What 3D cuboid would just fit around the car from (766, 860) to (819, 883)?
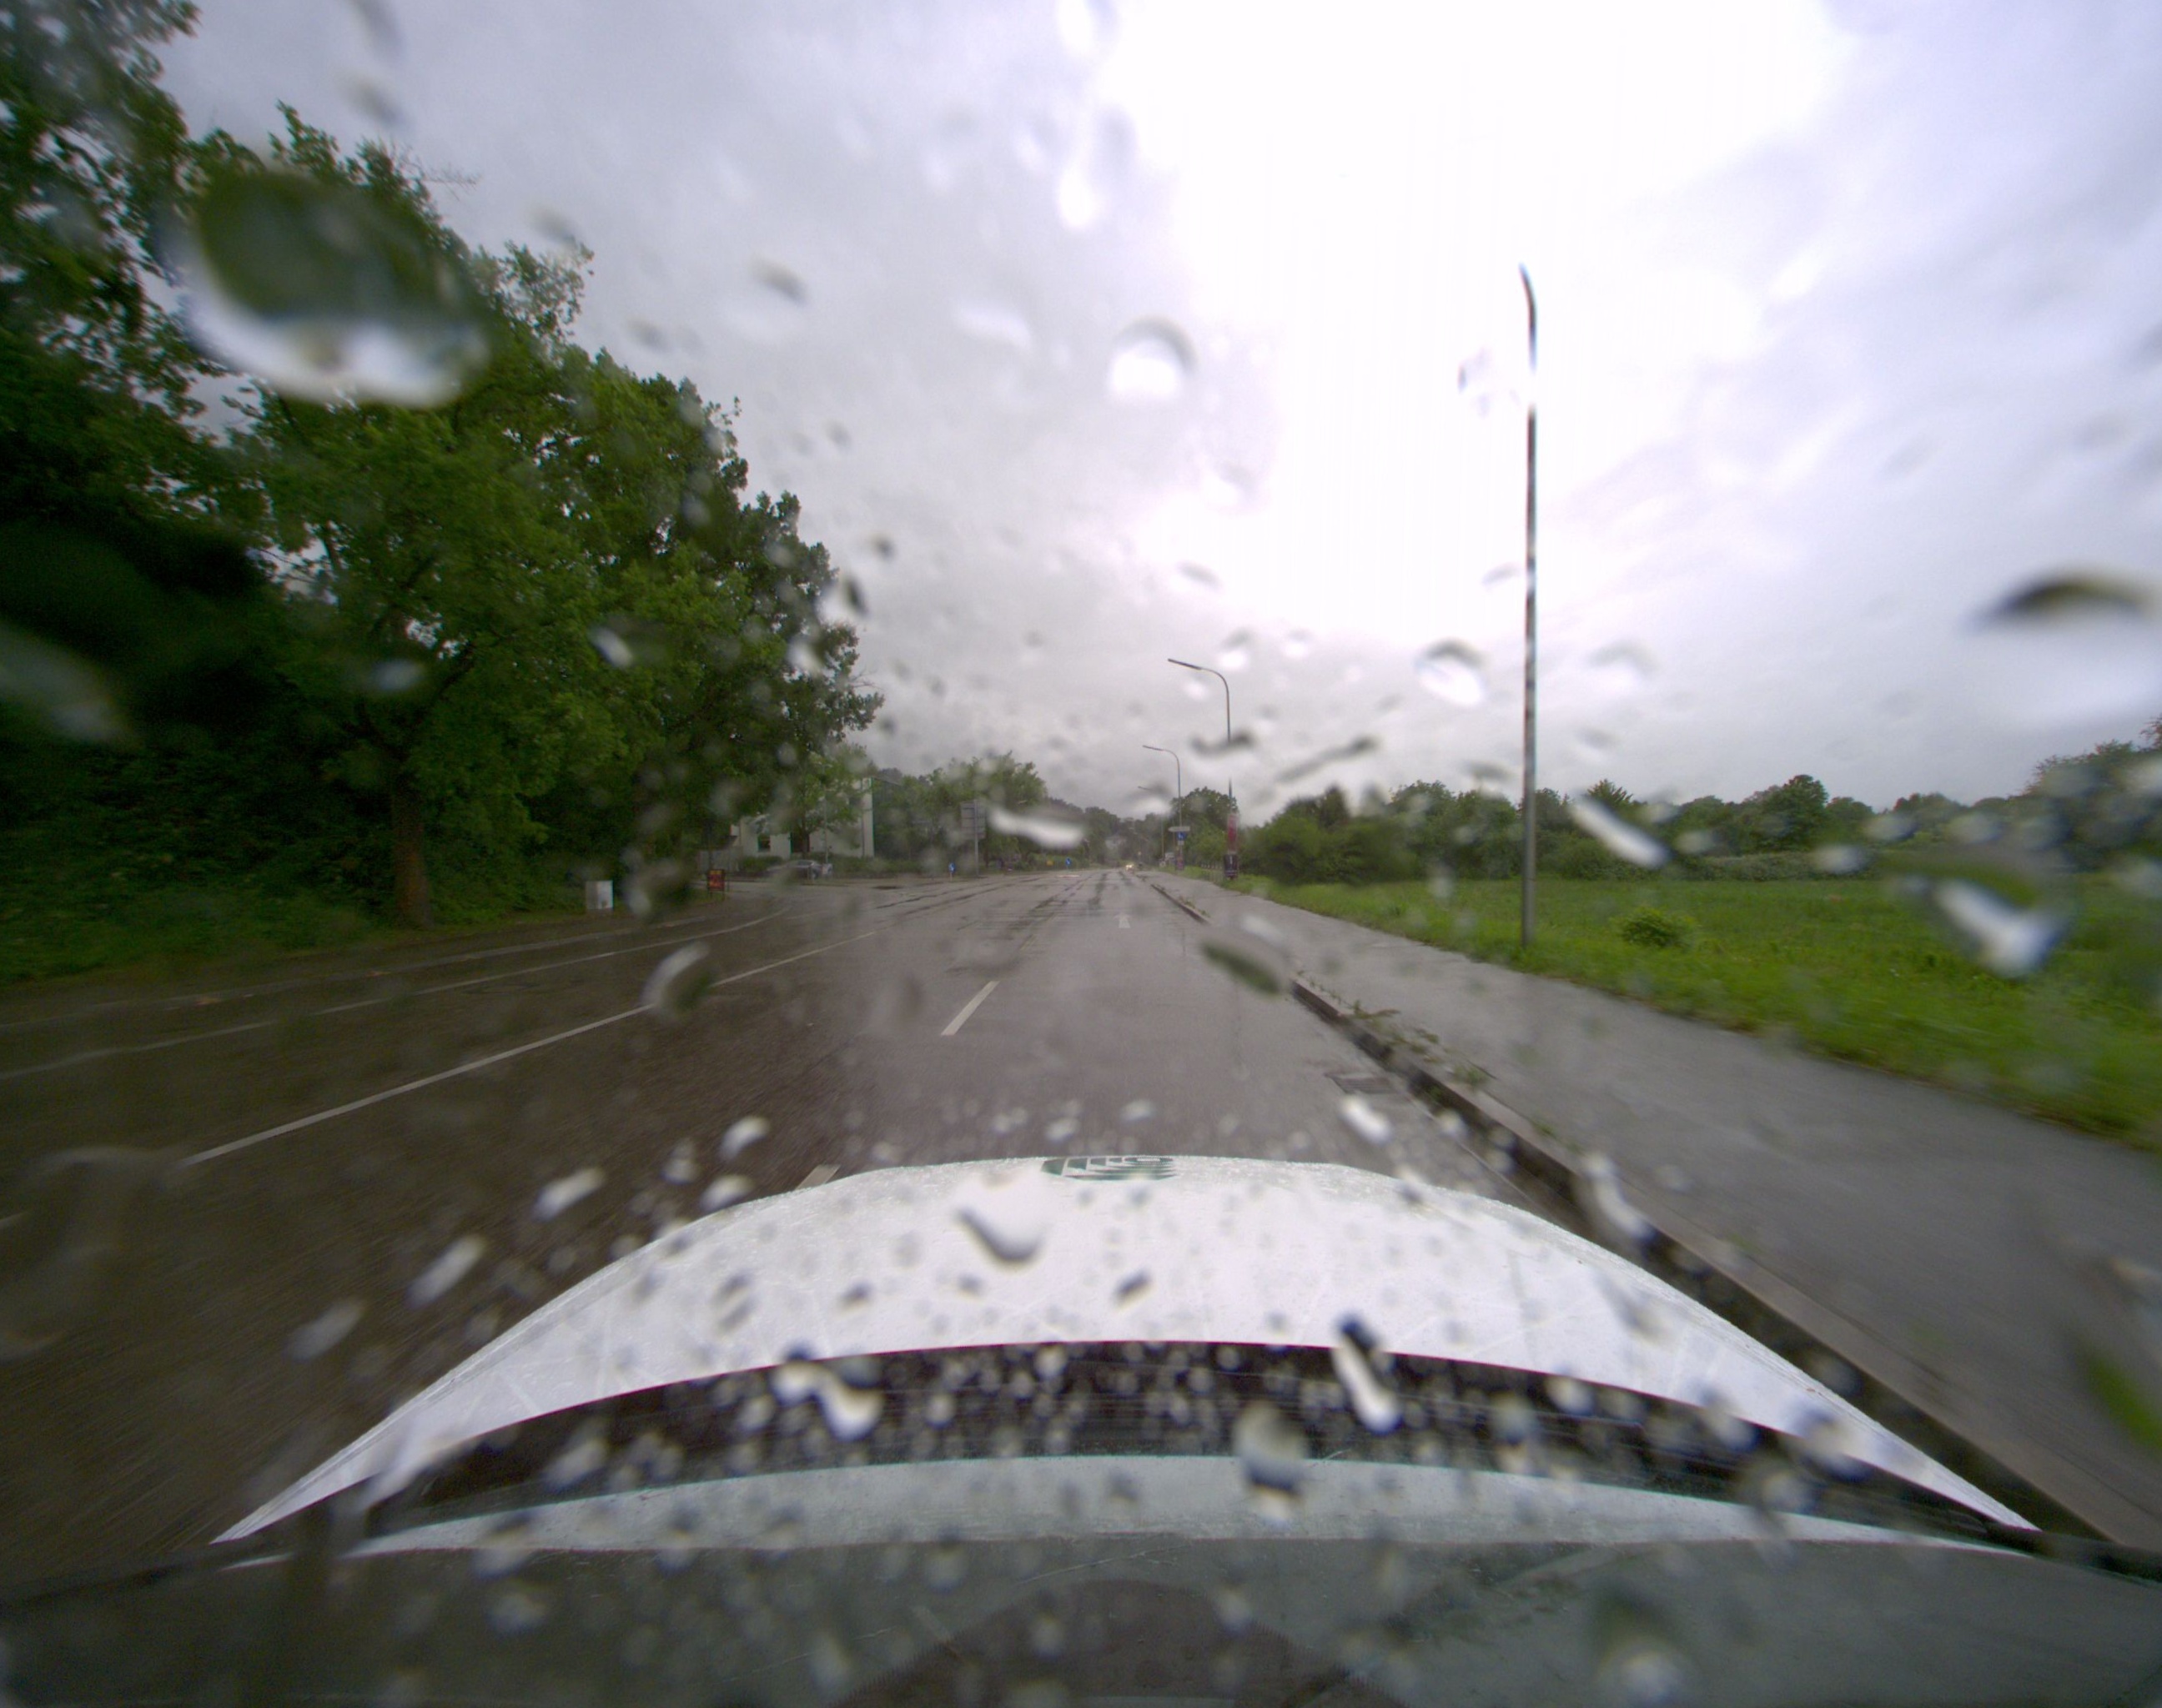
[{"bbox_3d":[-23.318,1.418,65.865,4.000,1.762,1.788,-1,0,-20],"label":"car"}]
